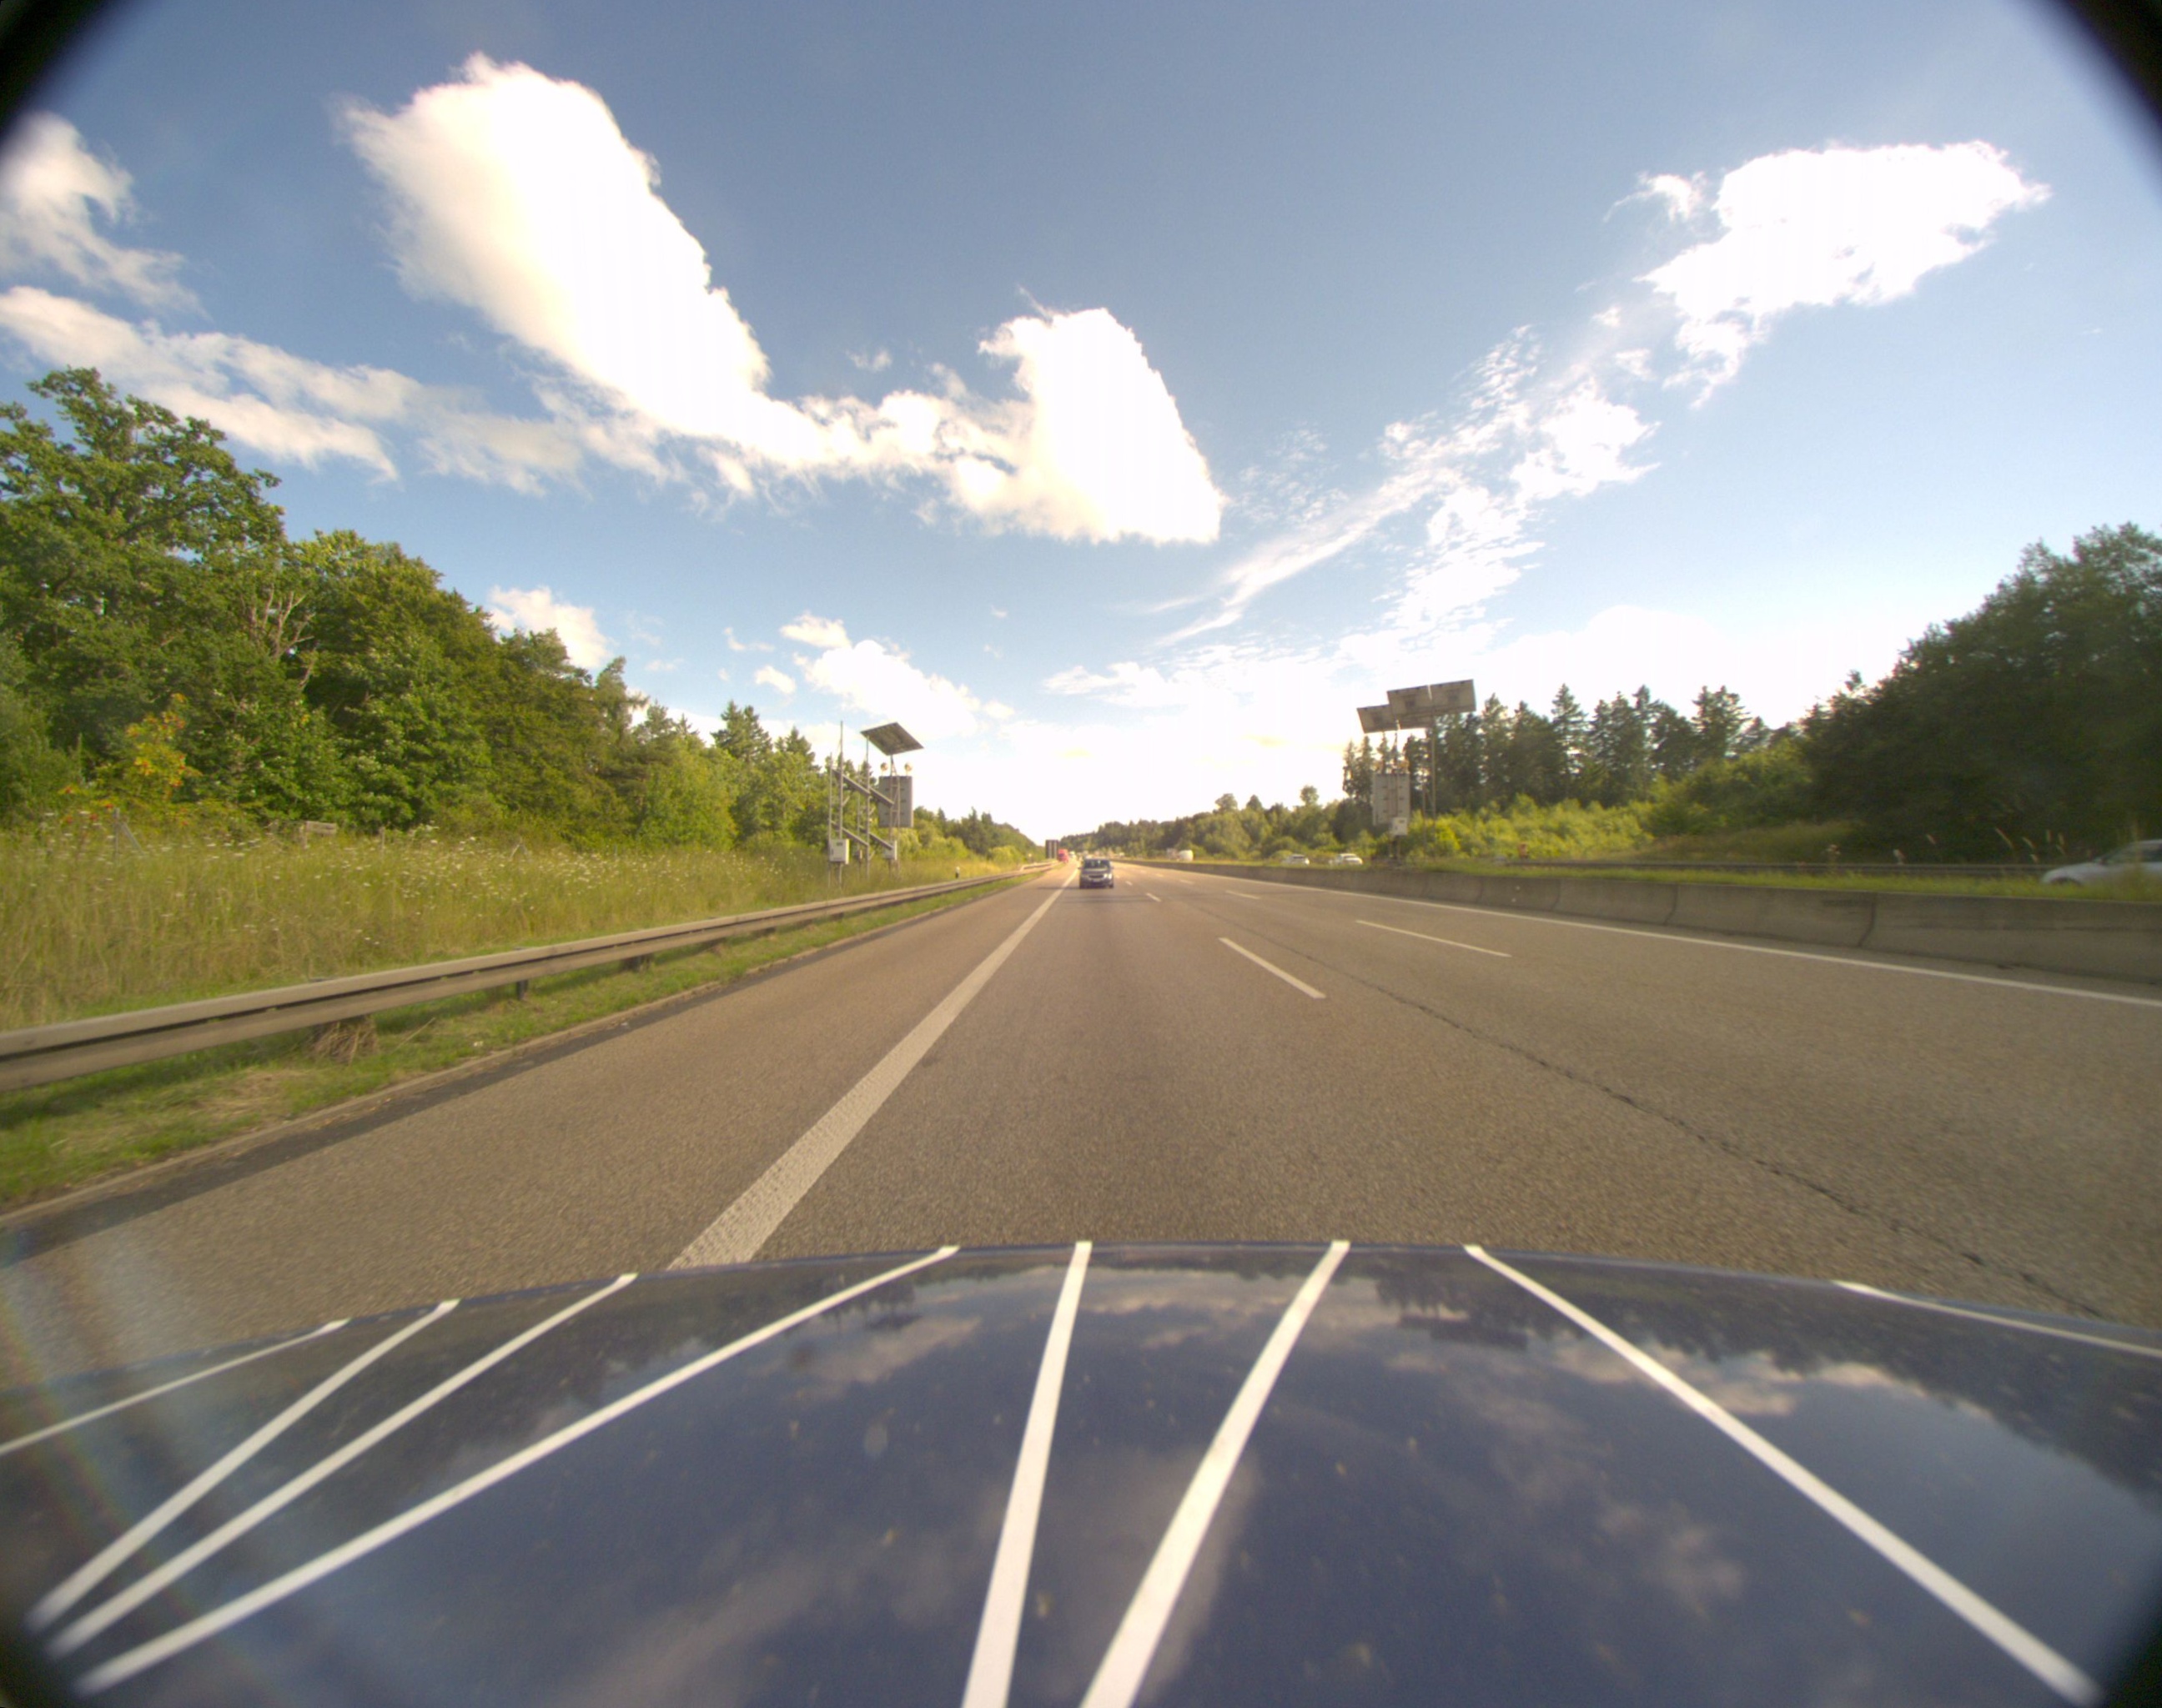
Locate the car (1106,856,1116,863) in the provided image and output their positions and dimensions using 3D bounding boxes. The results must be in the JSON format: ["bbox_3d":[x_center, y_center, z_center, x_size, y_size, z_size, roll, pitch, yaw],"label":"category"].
[{"bbox_3d":[5.660,1.010,143.946,1.749,1.276,4.199,-1,0,1],"label":"car"}]

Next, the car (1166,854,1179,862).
[{"bbox_3d":[17.286,0.678,144.039,1.998,1.444,4.000,-1,0,1],"label":"car"}]

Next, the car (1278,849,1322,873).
[{"bbox_3d":[21.108,0.631,73.436,2.585,2.126,5.966,-1,0,1],"label":"car"}]

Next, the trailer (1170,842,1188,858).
[{"bbox_3d":[24.870,-0.920,193.844,3.132,3.815,12.209,-1,0,1],"label":"trailer"}]

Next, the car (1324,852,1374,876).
[{"bbox_3d":[24.624,0.888,70.202,2.585,2.126,5.966,-1,0,1],"label":"car"}]

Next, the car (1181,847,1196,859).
[{"bbox_3d":[21.371,-0.279,151.597,2.114,2.299,6.724,-2,0,1],"label":"car"}]

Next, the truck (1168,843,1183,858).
[{"bbox_3d":[24.973,-0.937,201.087,3.122,3.815,7.123,-1,0,1],"label":"truck"}]

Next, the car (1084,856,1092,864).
[{"bbox_3d":[1.959,1.566,209.445,1.998,2.124,4.000,-1,0,1],"label":"car"}]

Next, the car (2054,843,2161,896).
[{"bbox_3d":[23.198,0.317,15.919,1.595,1.087,3.173,-1,0,1],"label":"car"}]

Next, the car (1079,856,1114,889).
[{"bbox_3d":[0.823,0.926,39.889,1.742,1.608,4.083,-1,0,1],"label":"car"}]

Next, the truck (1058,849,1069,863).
[{"bbox_3d":[-5.108,0.565,225.284,2.880,3.871,8.958,-2,0,1],"label":"truck"}]

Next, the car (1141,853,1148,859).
[{"bbox_3d":[21.788,0.730,261.980,1.998,2.002,4.859,-1,0,1],"label":"car"}]
